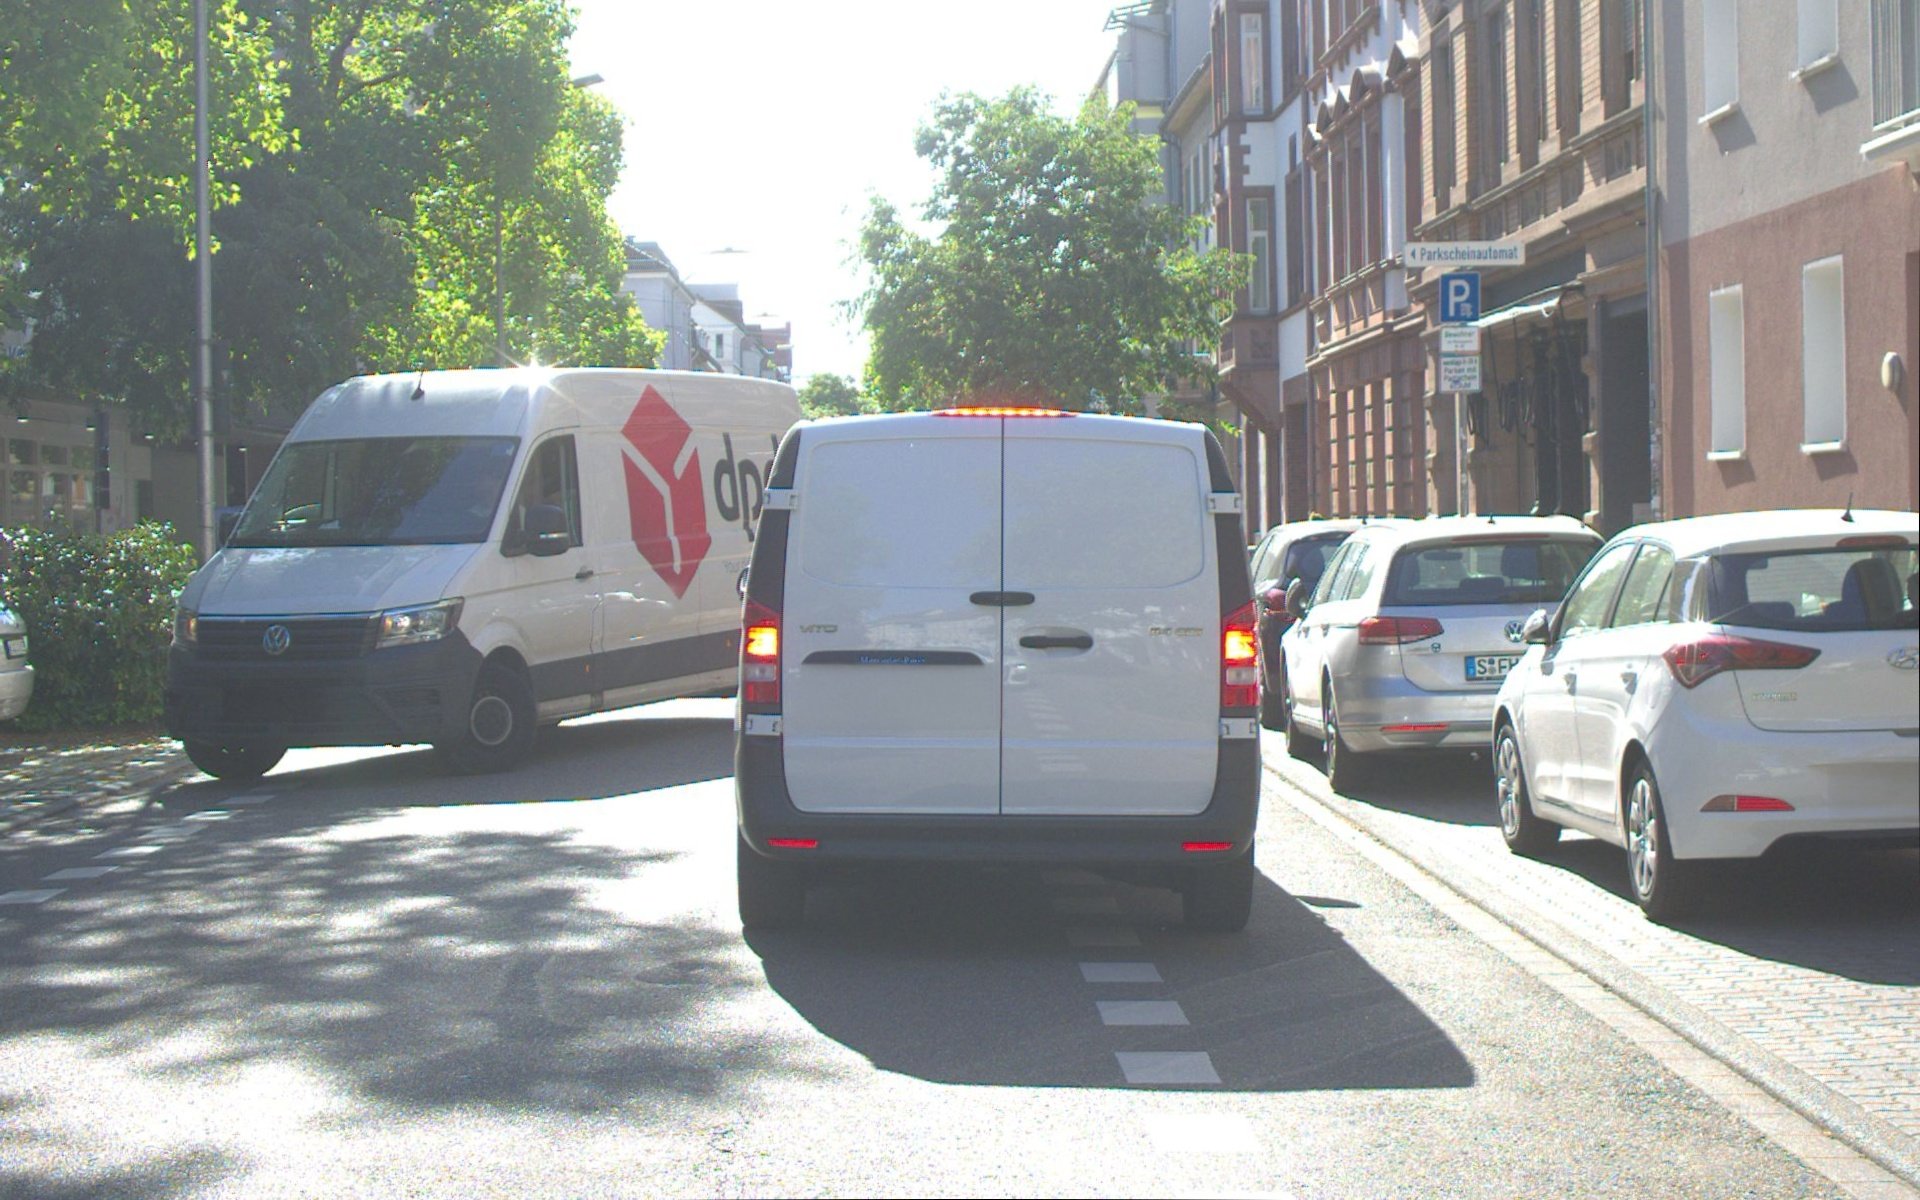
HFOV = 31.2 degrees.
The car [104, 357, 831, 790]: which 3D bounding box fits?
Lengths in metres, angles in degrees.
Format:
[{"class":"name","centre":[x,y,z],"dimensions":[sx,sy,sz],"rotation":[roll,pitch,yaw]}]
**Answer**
[{"class":"car","centre":[-2.998,-0.238,23.014],"dimensions":[1.995,2.465,6.598],"rotation":[0,1,19]}]

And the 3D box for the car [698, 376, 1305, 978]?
[{"class":"car","centre":[0.026,0.189,13.384],"dimensions":[1.920,1.907,4.889],"rotation":[0,1,-3]}]

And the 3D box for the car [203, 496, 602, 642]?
[{"class":"car","centre":[-7.765,-0.448,48.283],"dimensions":[5.292,1.967,2.016],"rotation":[1,1,-1]}]

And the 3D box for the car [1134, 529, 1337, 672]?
[{"class":"car","centre":[2.952,-0.034,37.526],"dimensions":[1.738,1.446,4.001],"rotation":[-1,1,-2]}]

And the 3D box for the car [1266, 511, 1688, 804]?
[{"class":"car","centre":[2.866,0.249,19.976],"dimensions":[1.786,1.455,4.517],"rotation":[-2,1,1]}]

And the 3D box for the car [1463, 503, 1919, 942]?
[{"class":"car","centre":[3.287,0.378,13.931],"dimensions":[1.731,1.481,3.795],"rotation":[-2,1,-2]}]

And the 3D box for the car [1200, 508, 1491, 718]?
[{"class":"car","centre":[2.884,0.058,26.417],"dimensions":[1.709,1.475,3.711],"rotation":[-1,1,-1]}]

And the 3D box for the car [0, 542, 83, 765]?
[{"class":"car","centre":[-8.172,0.362,23.313],"dimensions":[3.986,1.452,1.861],"rotation":[-1,1,-2]}]

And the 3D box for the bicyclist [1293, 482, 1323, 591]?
[{"class":"bicyclist","centre":[4.695,-0.857,46.399],"dimensions":[0.361,1.472,0.530],"rotation":[0,1,2]}]
